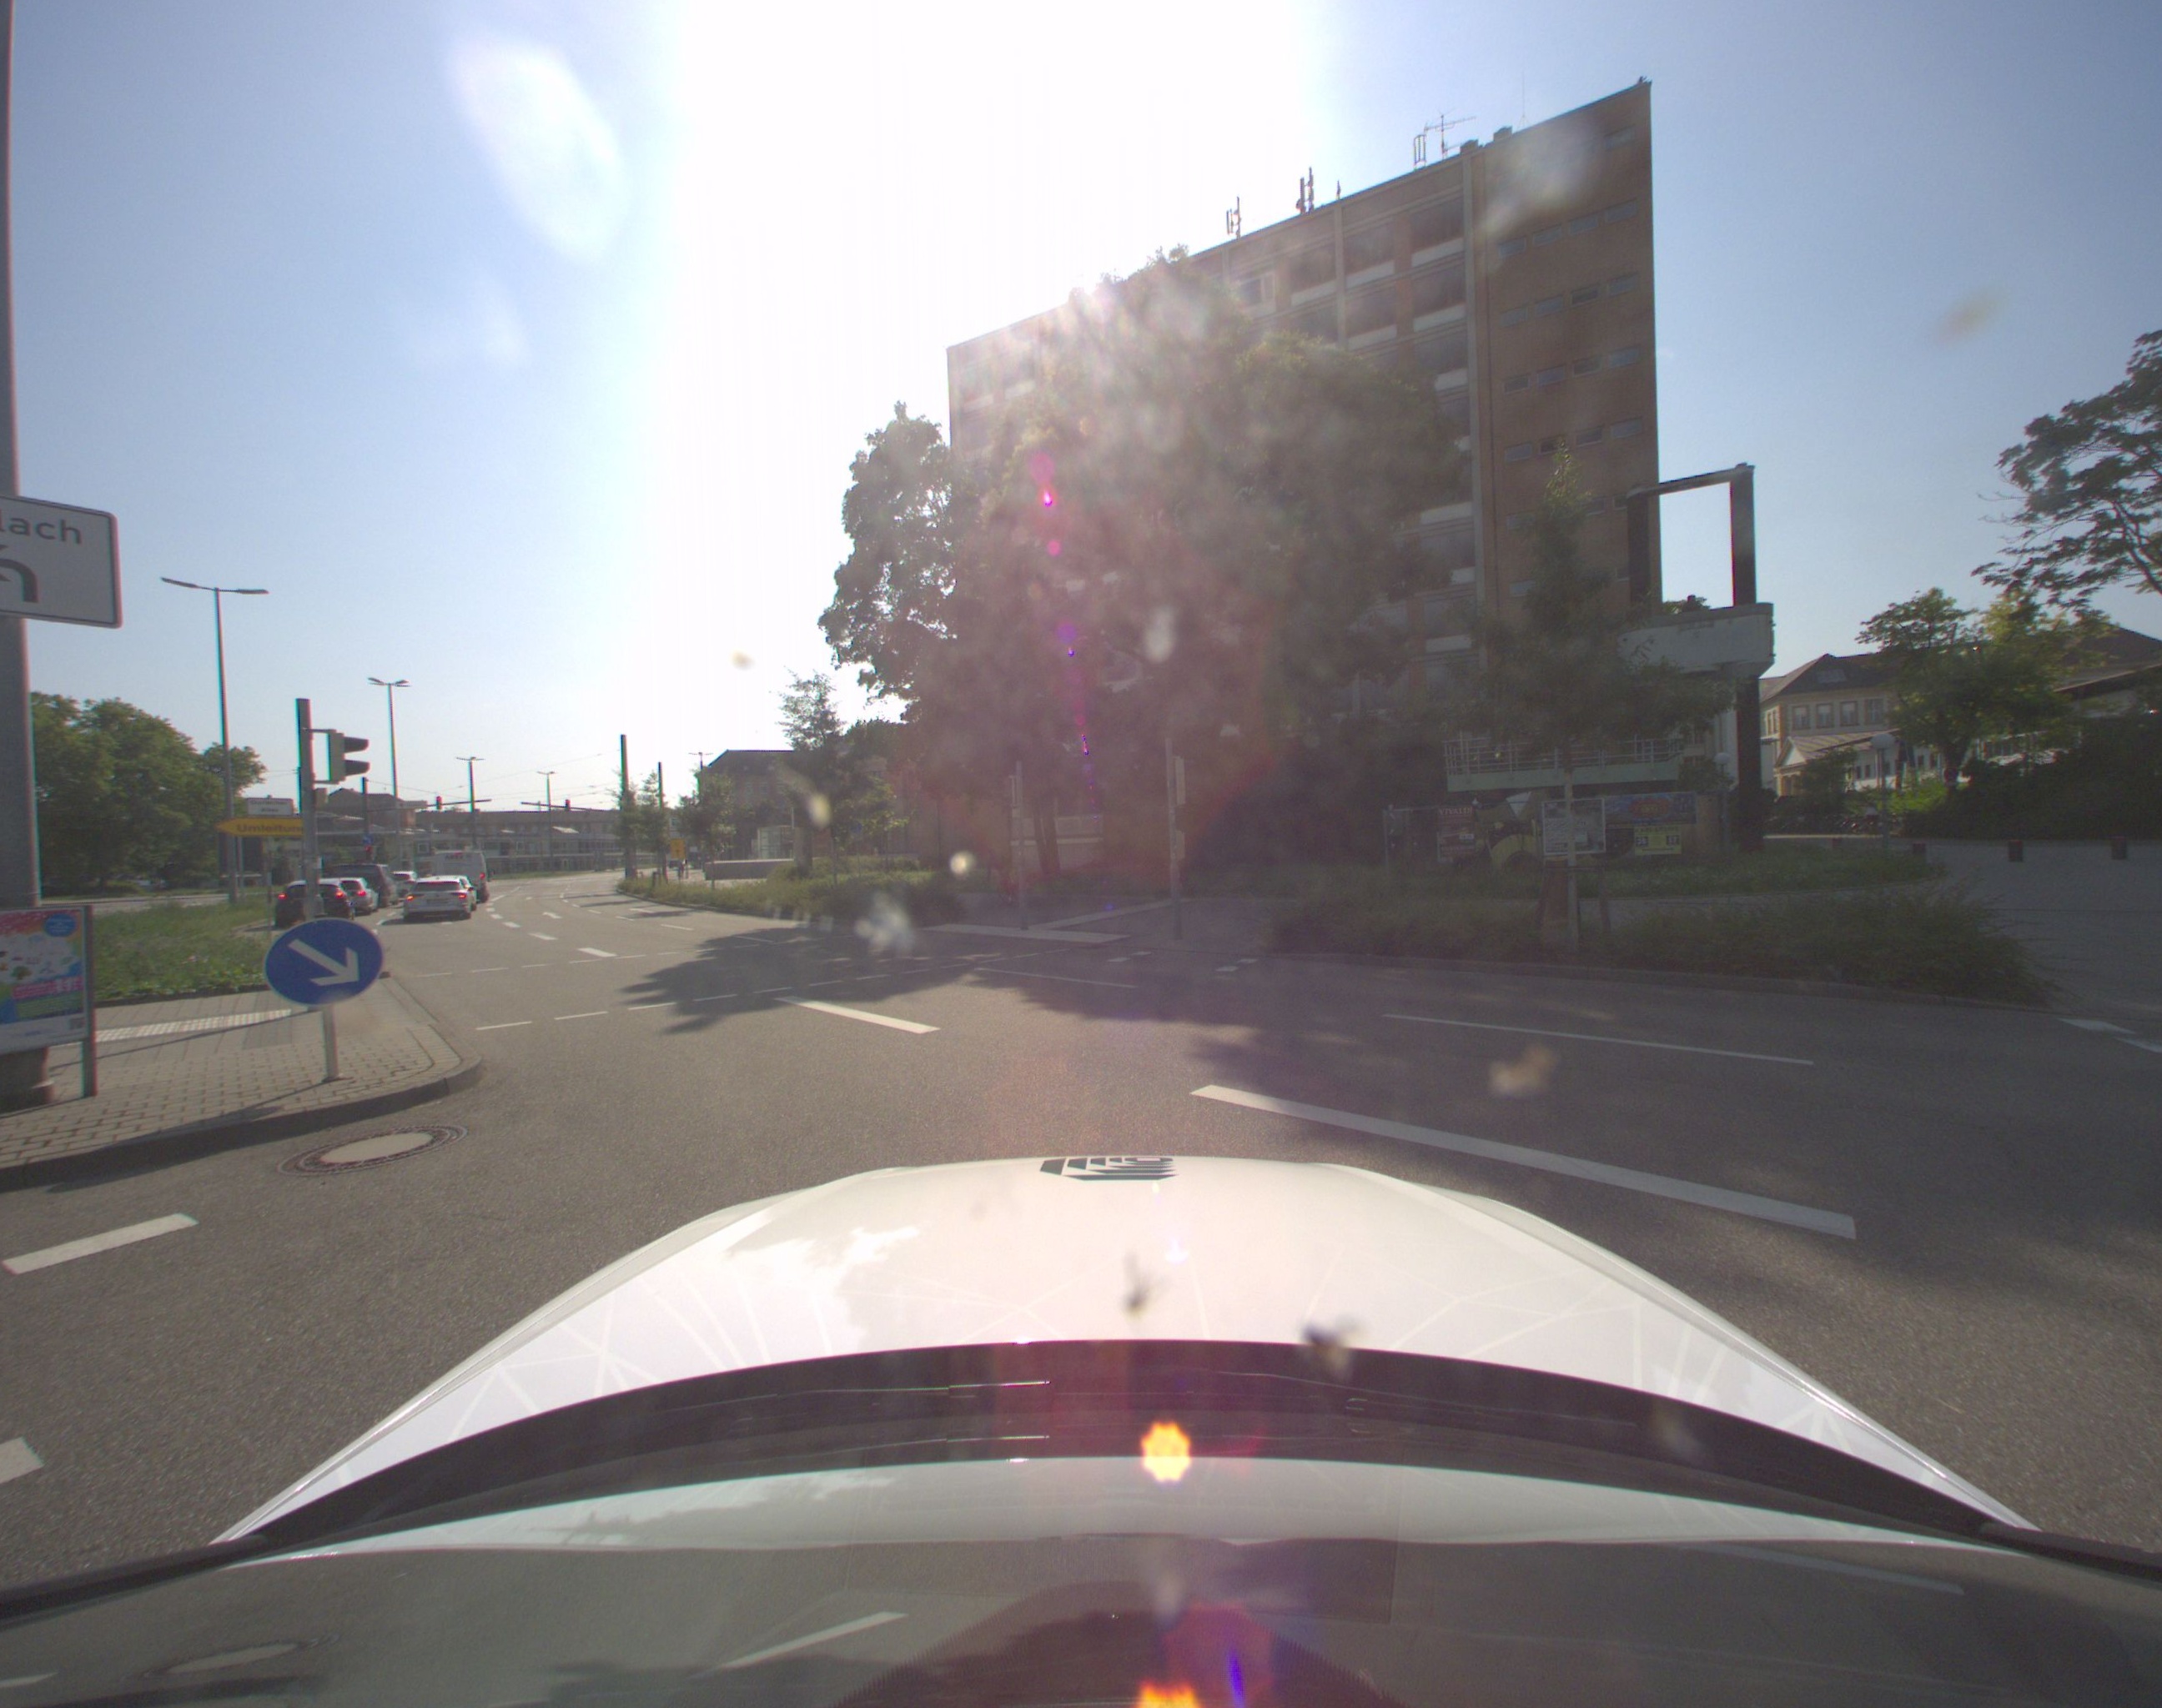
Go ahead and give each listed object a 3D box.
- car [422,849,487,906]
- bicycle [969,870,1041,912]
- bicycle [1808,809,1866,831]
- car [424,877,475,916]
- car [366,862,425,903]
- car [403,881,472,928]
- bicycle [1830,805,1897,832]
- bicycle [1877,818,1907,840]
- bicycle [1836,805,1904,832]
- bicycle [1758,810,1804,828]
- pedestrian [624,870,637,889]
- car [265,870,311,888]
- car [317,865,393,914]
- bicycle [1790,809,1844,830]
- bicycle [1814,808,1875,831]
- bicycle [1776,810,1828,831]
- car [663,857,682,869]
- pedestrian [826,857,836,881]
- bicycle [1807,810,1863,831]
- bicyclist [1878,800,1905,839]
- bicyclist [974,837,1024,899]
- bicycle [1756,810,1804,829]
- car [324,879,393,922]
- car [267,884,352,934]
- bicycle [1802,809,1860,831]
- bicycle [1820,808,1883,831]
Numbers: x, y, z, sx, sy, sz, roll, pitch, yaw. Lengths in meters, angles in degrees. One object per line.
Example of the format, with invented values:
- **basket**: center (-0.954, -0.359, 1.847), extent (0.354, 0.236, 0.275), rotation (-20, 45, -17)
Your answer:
- **car**: center (-30.638, 1.161, 39.948), extent (2.205, 2.549, 4.633), rotation (-2, -1, -34)
- **bicycle**: center (-2.098, 0.992, 22.156), extent (0.779, 0.975, 2.124), rotation (-9, 5, -40)
- **bicycle**: center (43.969, -1.992, 47.389), extent (2.403, 1.234, 0.725), rotation (0, 2, 32)
- **car**: center (-25.563, 1.703, 33.044), extent (1.501, 1.403, 3.898), rotation (-2, -1, -37)
- **car**: center (-36.463, 1.479, 43.414), extent (2.039, 2.008, 4.631), rotation (-2, 0, -36)
- **car**: center (-21.728, 1.663, 27.612), extent (1.698, 1.387, 3.593), rotation (-2, -1, -37)
- **bicycle**: center (40.885, -1.845, 42.580), extent (2.403, 1.318, 0.725), rotation (0, 2, 32)
- **bicycle**: center (34.195, -1.058, 34.341), extent (0.666, 0.879, 1.410), rotation (-2, 1, 36)
- **bicycle**: center (40.287, -1.787, 41.606), extent (2.403, 1.318, 0.725), rotation (0, 2, 32)
- **bicycle**: center (49.579, -2.468, 57.734), extent (2.403, 1.262, 0.725), rotation (0, 2, 32)
- **pedestrian**: center (-32.215, 1.832, 58.217), extent (0.641, 1.362, 0.626), rotation (-3, 0, -41)
- **car**: center (-101.579, 3.169, 104.333), extent (4.020, 2.013, 1.977), rotation (-2, 2, -39)
- **car**: center (-32.631, 1.547, 36.744), extent (2.039, 2.008, 4.632), rotation (-2, 0, -36)
- **bicycle**: center (45.645, -2.141, 50.565), extent (2.403, 1.281, 0.725), rotation (0, 2, 32)
- **bicycle**: center (42.941, -1.936, 45.825), extent (2.403, 1.223, 0.725), rotation (0, 2, 32)
- **bicycle**: center (45.816, -2.147, 51.770), extent (2.403, 1.281, 0.725), rotation (0, 2, 32)
- **car**: center (-75.339, 1.632, 150.352), extent (2.420, 2.013, 4.747), rotation (-3, 1, -20)
- **pedestrian**: center (-17.394, 1.020, 56.723), extent (0.616, 1.639, 0.531), rotation (-3, 0, -17)
- **bicycle**: center (45.267, -2.013, 48.928), extent (2.403, 1.228, 0.725), rotation (0, 2, 32)
- **bicyclist**: center (34.248, -1.447, 34.438), extent (0.643, 1.601, 0.926), rotation (-2, 1, 36)
- **bicyclist**: center (-2.238, 0.377, 22.207), extent (0.779, 1.578, 0.979), rotation (-9, 5, -40)
- **bicycle**: center (47.906, -2.357, 55.846), extent (2.403, 1.281, 0.725), rotation (0, 2, 32)
- **car**: center (-27.904, 1.744, 31.549), extent (1.500, 1.415, 3.609), rotation (-2, 1, -34)
- **car**: center (-24.481, 1.688, 25.953), extent (1.716, 1.368, 3.917), rotation (-2, 0, -40)
- **bicycle**: center (44.382, -2.027, 48.237), extent (2.403, 1.239, 0.725), rotation (0, 2, 32)
- **bicycle**: center (42.273, -1.881, 44.730), extent (2.403, 1.223, 0.725), rotation (0, 2, 32)
